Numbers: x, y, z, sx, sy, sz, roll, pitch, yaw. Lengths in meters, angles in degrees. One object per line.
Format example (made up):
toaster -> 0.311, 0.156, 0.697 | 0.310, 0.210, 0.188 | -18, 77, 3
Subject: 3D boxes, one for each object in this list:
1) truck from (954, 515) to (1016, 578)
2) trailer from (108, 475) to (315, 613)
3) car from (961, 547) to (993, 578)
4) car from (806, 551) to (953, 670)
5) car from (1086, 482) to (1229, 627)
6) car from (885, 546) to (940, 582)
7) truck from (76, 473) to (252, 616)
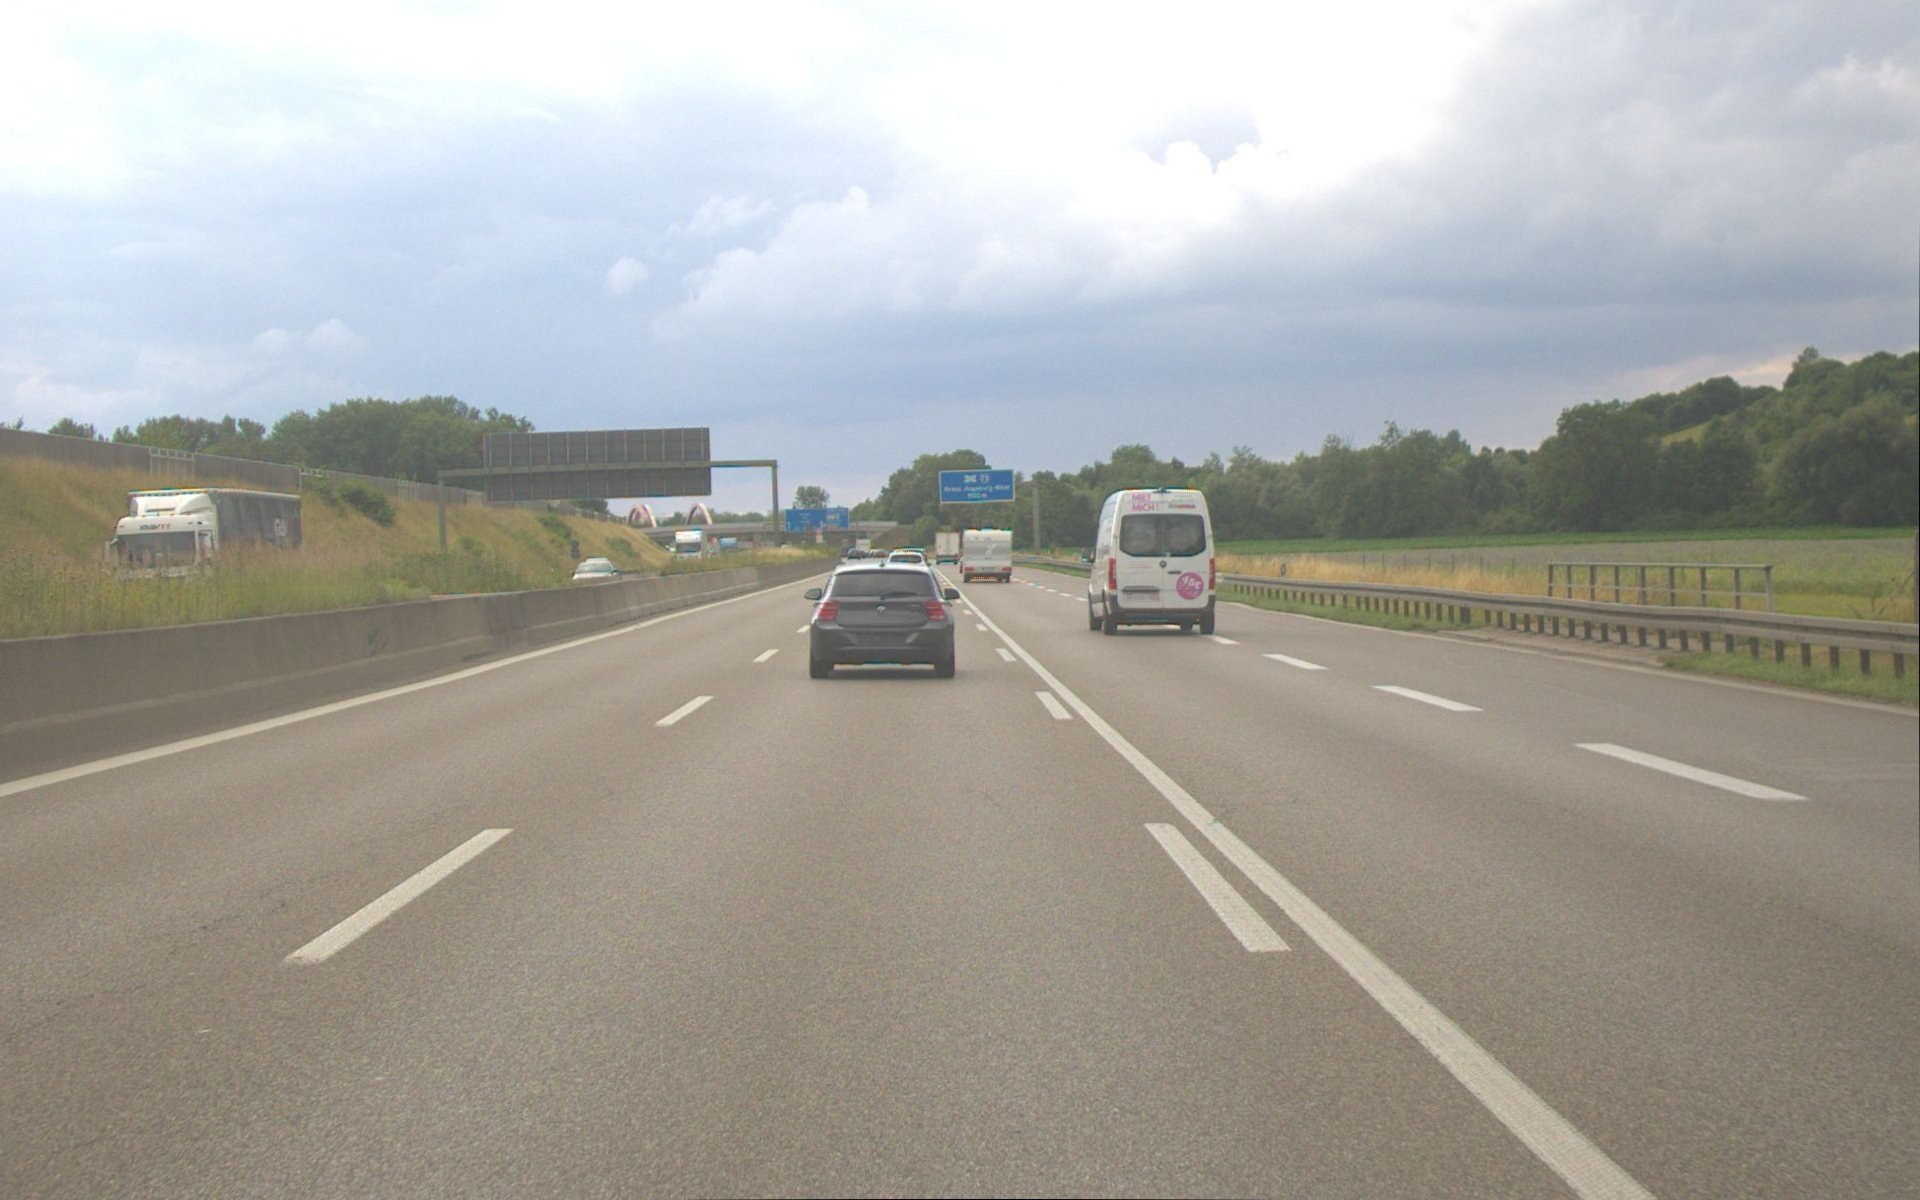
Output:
truck -> 1.167, -2.615, 168.357 | 2.710, 2.954, 12.448 | 1, 1, -1
trailer -> -22.853, -1.712, 105.781 | 3.671, 3.967, 12.679 | 1, 1, 0
car -> 1.087, -2.462, 226.719 | 1.993, 2.007, 4.000 | -1, 1, -1
car -> -0.976, 0.094, 42.767 | 1.743, 1.384, 4.000 | 0, 1, -1
car -> 3.644, -0.871, 64.437 | 2.221, 2.559, 6.256 | -1, 1, -1
car -> -1.825, -1.387, 130.333 | 1.993, 1.293, 4.000 | -2, 1, -1
truck -> -22.808, -1.599, 98.830 | 3.668, 3.934, 6.014 | 1, 1, 0
